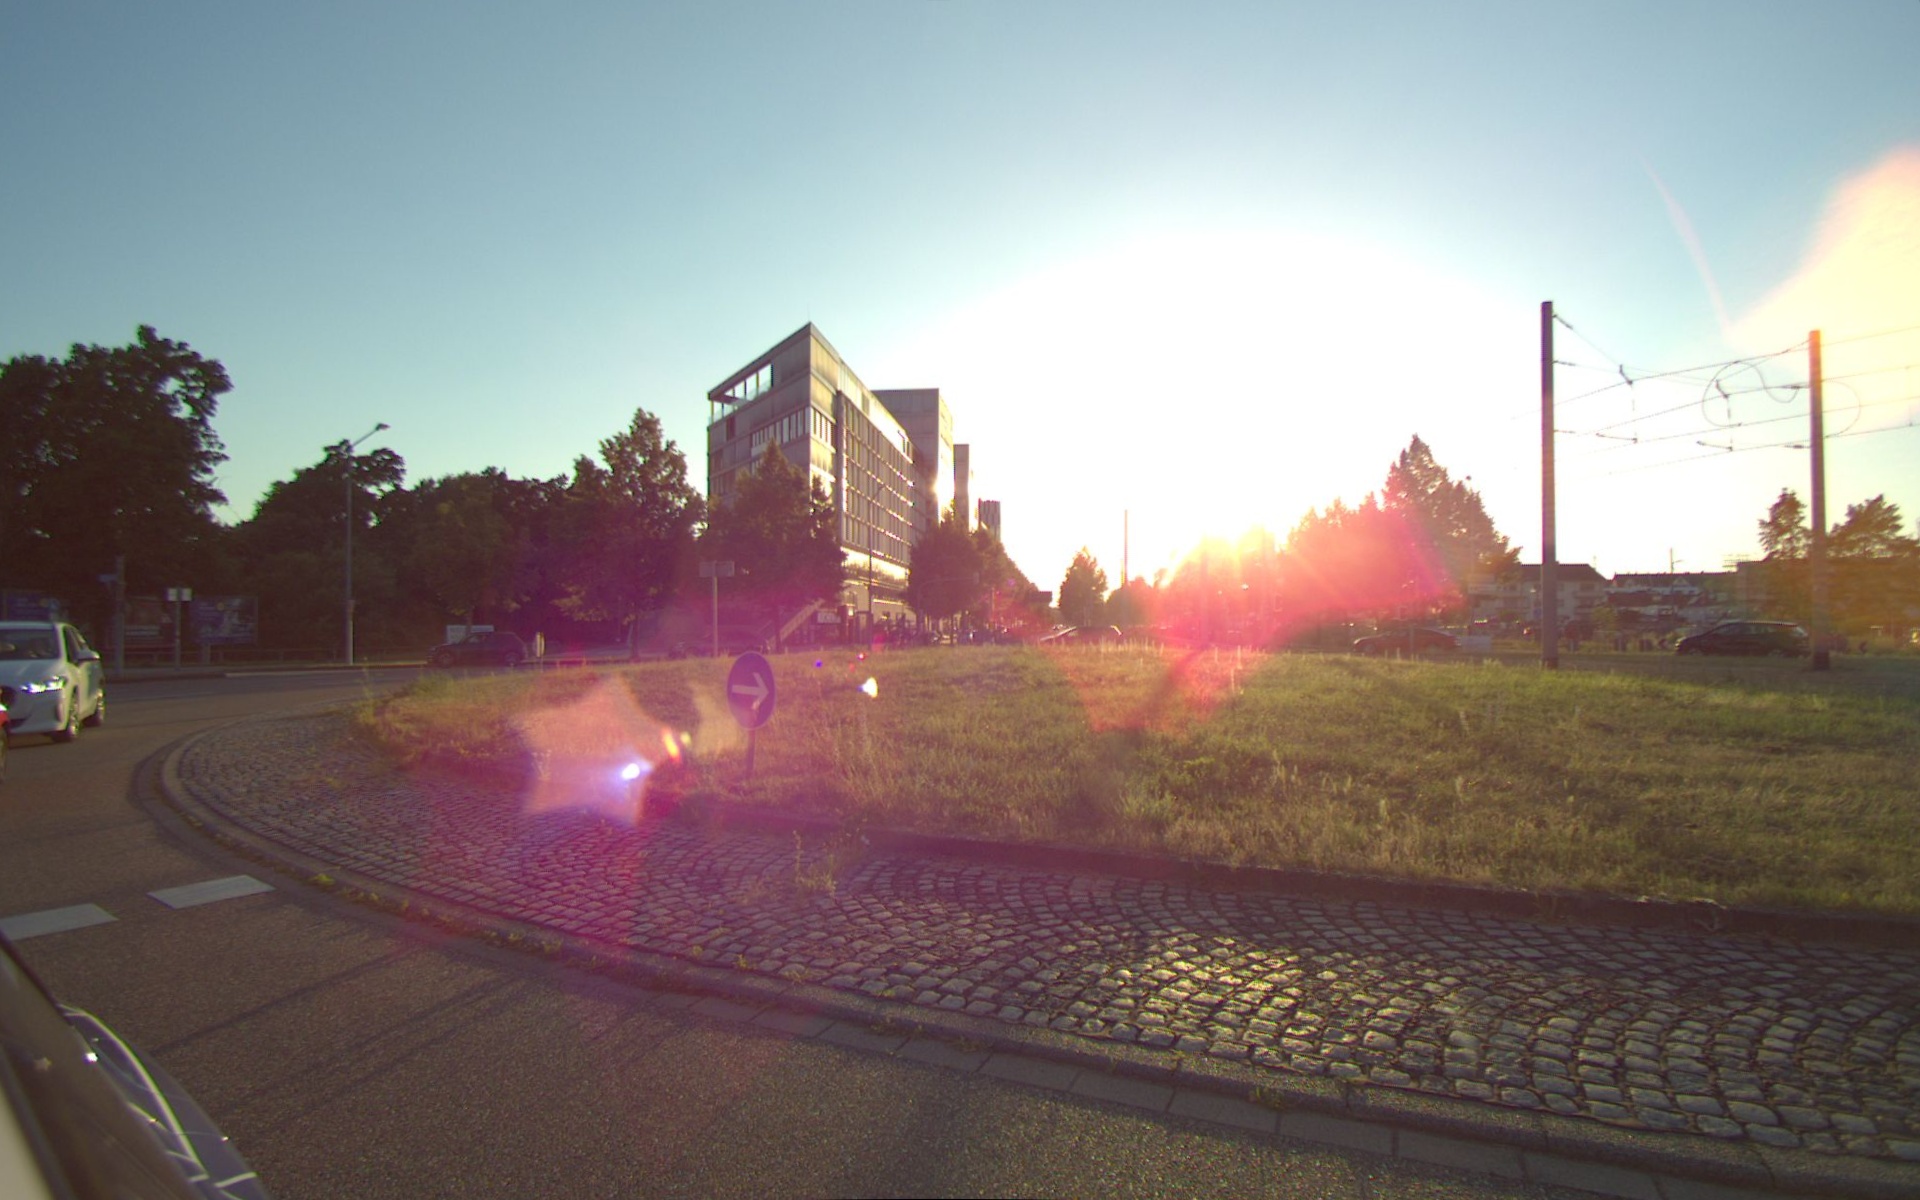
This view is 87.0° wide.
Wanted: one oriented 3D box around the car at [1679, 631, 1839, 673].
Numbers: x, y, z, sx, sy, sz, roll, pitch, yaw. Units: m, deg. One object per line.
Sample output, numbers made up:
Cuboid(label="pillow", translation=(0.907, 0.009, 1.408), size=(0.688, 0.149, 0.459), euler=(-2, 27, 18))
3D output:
Cuboid(label="car", translation=(29.658, 1.906, 37.700), size=(1.913, 1.443, 4.329), euler=(1, -2, -38))

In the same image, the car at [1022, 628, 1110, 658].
Cuboid(label="car", translation=(5.385, 2.182, 51.825), size=(4.346, 1.443, 1.942), euler=(-1, -2, 4))

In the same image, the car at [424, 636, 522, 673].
Cuboid(label="car", translation=(-20.648, 2.279, 43.016), size=(3.685, 1.443, 1.951), euler=(0, -2, -25))

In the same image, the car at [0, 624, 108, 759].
Cuboid(label="car", translation=(-12.612, 1.116, 13.314), size=(1.731, 1.570, 4.225), euler=(0, -2, -35))

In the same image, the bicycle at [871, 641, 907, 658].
Cuboid(label="bicycle", translation=(-4.775, 3.324, 67.951), size=(2.374, 1.176, 0.755), euler=(0, -2, -2))

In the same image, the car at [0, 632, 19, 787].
Cuboid(label="car", translation=(-8.866, 0.972, 7.965), size=(1.667, 1.432, 4.220), euler=(1, -2, -37))

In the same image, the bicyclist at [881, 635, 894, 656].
Cuboid(label="bicyclist", translation=(-4.871, 3.043, 67.971), size=(0.866, 1.403, 0.755), euler=(0, -2, -3))

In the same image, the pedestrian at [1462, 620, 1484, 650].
Cuboid(label="pedestrian", translation=(32.056, 2.209, 63.253), size=(1.157, 1.841, 0.970), euler=(-1, -2, 29))

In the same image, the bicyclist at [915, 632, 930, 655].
Cuboid(label="bicyclist", translation=(-2.576, 3.003, 69.565), size=(0.963, 1.537, 0.755), euler=(0, -2, -6))

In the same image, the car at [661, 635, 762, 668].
Cuboid(label="car", translation=(-11.747, 2.408, 47.758), size=(4.326, 1.443, 1.951), euler=(0, -2, -25))

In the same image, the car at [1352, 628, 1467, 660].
Cuboid(label="car", translation=(21.125, 2.050, 47.651), size=(4.590, 1.443, 1.919), euler=(-2, -2, 39))

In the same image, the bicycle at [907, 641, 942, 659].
Cuboid(label="bicycle", translation=(-2.466, 3.419, 69.504), size=(2.372, 1.176, 0.755), euler=(0, -2, -5))
